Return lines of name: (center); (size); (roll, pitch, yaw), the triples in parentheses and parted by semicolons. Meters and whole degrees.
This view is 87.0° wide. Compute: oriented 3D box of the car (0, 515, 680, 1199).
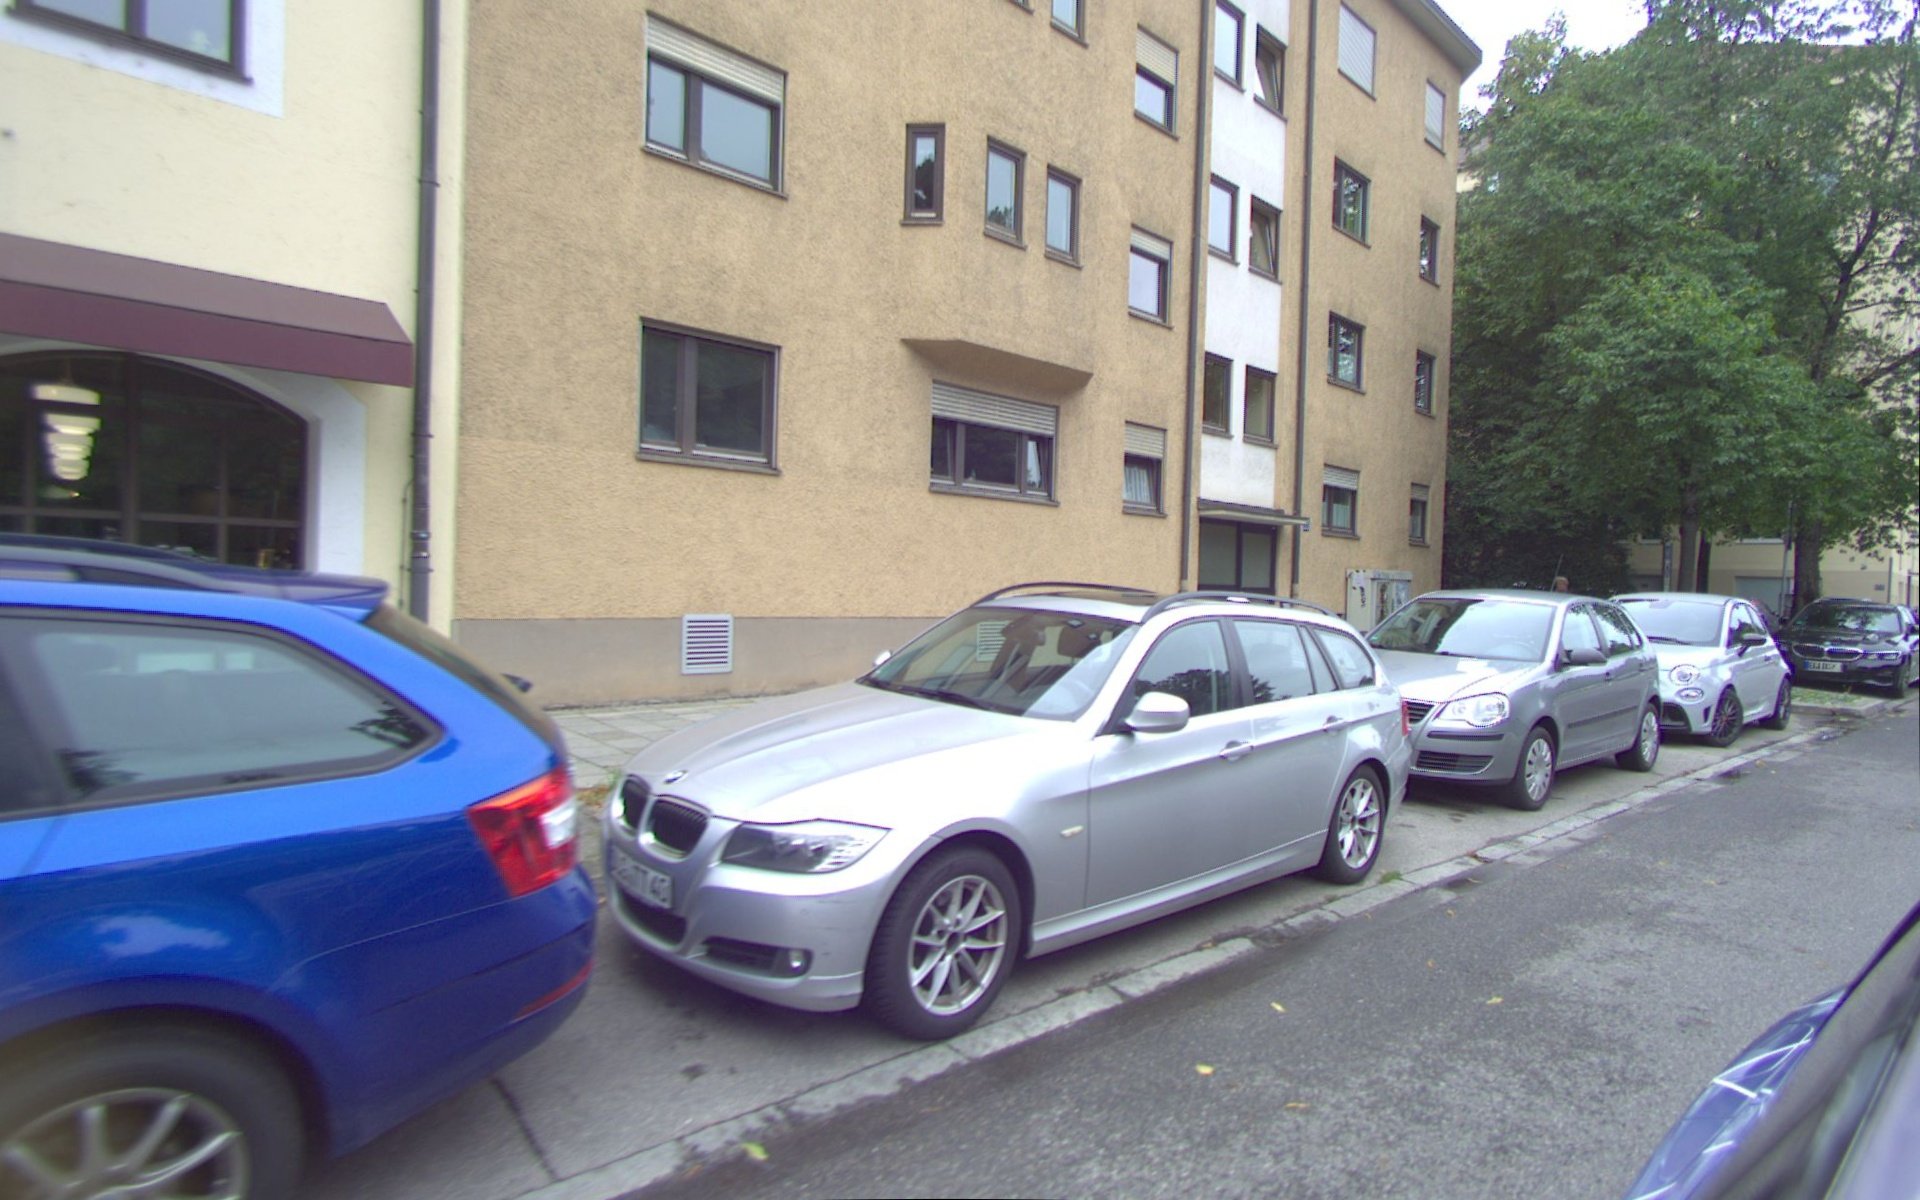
car: (-2.929, 0.560, 1.668); (4.408, 1.514, 1.761); (0, 3, -40)

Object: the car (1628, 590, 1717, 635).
car: (26.103, 0.439, 37.026); (4.176, 1.485, 1.914); (0, 2, -45)

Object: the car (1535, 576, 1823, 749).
car: (7.950, 0.564, 11.080); (3.753, 1.514, 1.632); (0, 3, -40)

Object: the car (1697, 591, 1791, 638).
car: (27.577, 0.483, 35.566); (4.176, 1.485, 2.050); (0, 2, -45)

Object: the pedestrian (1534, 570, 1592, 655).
pedestrian: (12.017, 0.227, 20.160); (0.963, 1.644, 0.672); (0, 2, -39)

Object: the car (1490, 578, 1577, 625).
car: (23.290, 0.052, 41.037); (4.174, 1.773, 1.914); (0, 2, -44)

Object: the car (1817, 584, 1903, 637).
car: (29.699, 0.328, 33.354); (4.176, 1.584, 1.822); (0, 2, -45)

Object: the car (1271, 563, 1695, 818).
car: (4.261, 0.545, 8.022); (3.719, 1.514, 1.632); (0, 3, -40)

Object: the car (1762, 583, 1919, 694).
car: (15.142, 0.562, 16.969); (4.299, 1.515, 1.796); (0, 4, -41)

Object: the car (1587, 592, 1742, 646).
car: (22.371, 0.559, 32.229); (1.702, 1.515, 3.706); (1, 2, -39)

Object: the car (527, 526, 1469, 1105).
car: (0.527, 0.530, 4.708); (4.356, 1.514, 1.694); (0, 3, -41)

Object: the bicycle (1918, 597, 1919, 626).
bicycle: (39.962, 0.481, 41.825); (0.362, 1.185, 1.301); (2, 1, 37)

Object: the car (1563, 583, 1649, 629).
car: (24.876, 0.216, 38.919); (4.176, 1.640, 1.914); (0, 2, -45)
